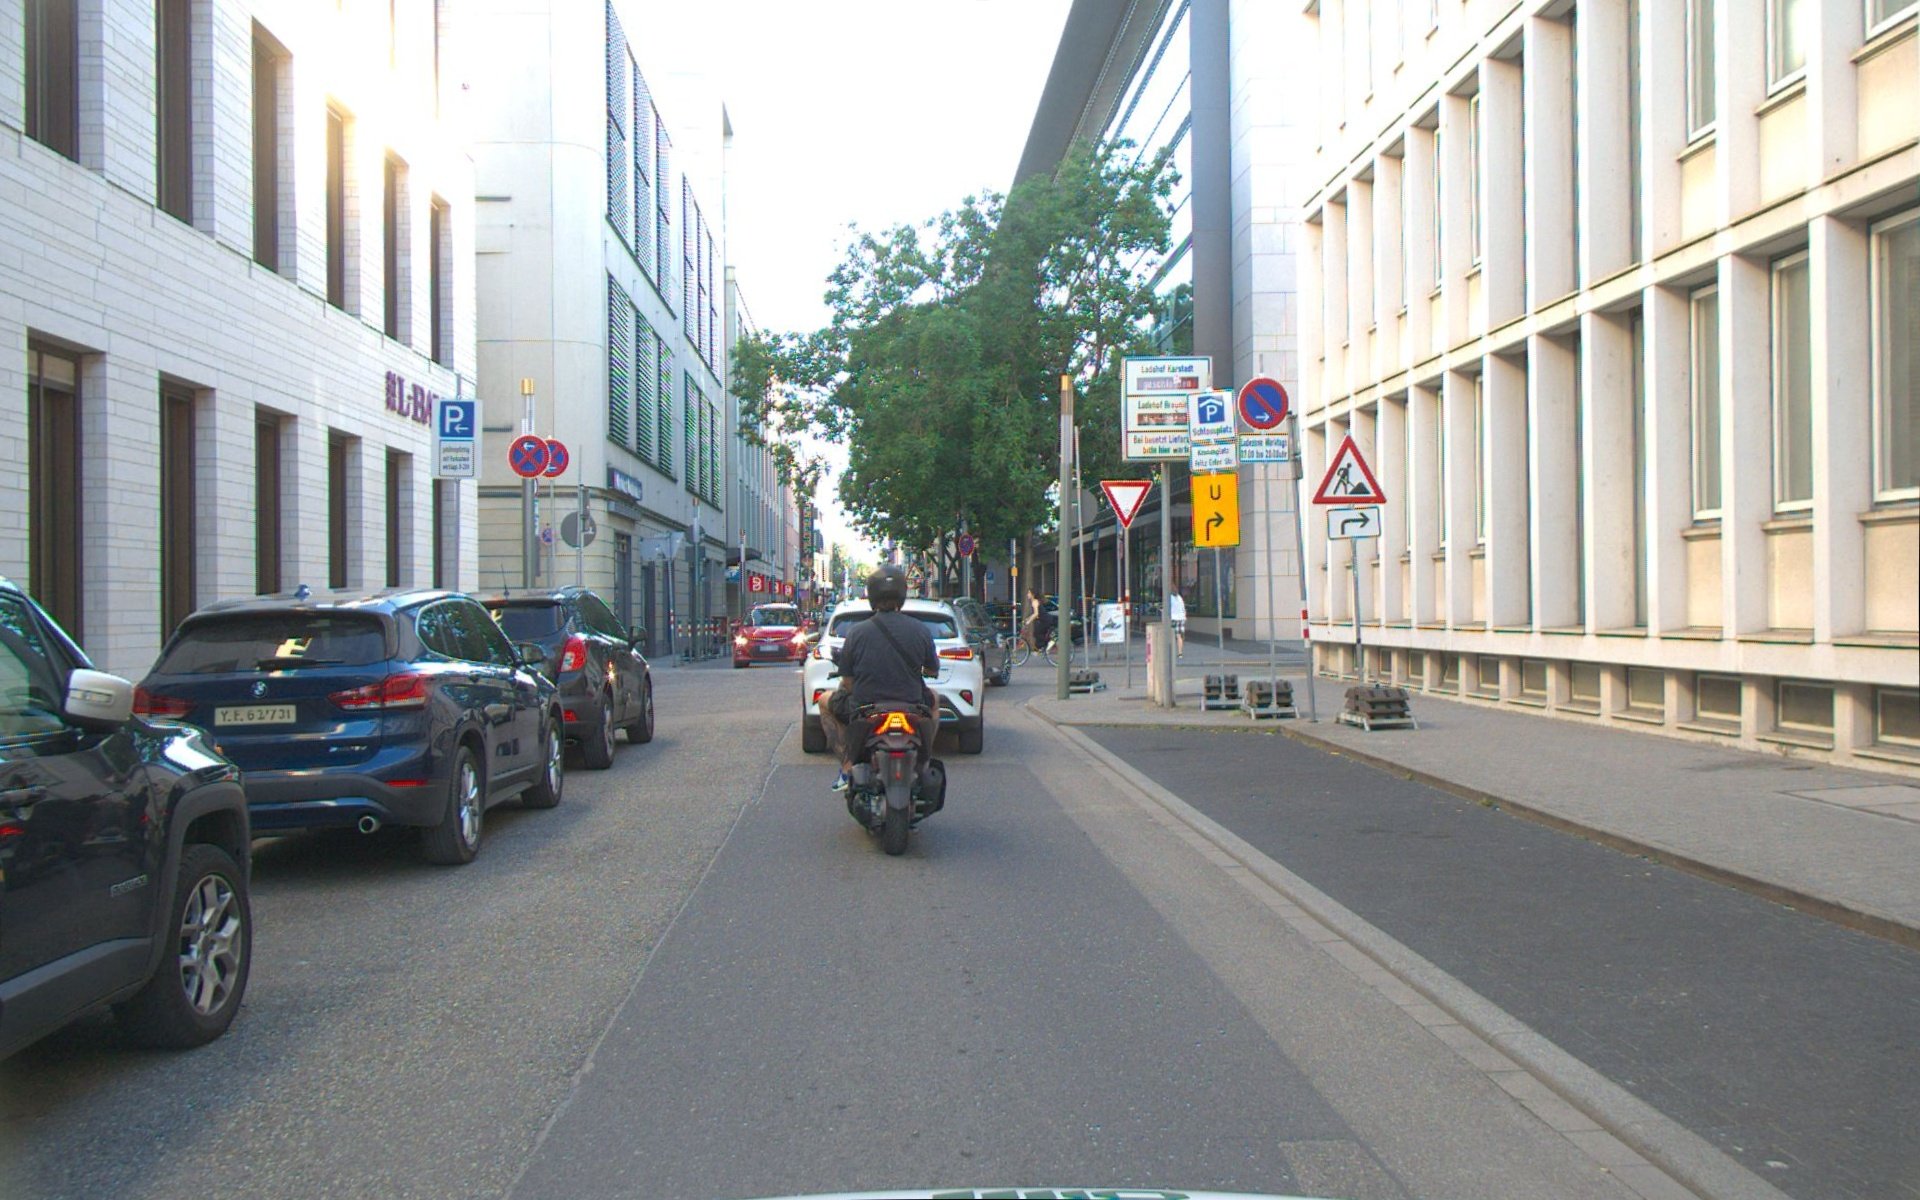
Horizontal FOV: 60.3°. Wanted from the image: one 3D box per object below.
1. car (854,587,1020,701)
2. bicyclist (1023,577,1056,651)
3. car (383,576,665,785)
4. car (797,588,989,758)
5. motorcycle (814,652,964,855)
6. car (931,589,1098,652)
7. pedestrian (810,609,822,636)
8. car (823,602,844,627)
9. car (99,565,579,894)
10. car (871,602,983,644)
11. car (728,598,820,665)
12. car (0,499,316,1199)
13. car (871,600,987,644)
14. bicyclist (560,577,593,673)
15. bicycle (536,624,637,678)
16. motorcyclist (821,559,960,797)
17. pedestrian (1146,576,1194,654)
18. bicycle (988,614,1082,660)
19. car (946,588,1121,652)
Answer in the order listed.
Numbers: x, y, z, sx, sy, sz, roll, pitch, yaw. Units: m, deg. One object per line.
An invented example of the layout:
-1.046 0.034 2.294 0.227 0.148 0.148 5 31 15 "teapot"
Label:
-0.265 0.638 26.415 1.783 1.568 4.369 -2 1 10 "car"
1.770 0.317 36.925 0.617 1.654 0.498 0 -1 22 "bicyclist"
-4.124 0.681 16.359 1.786 1.707 4.261 -3 0 -3 "car"
-0.770 0.669 17.665 1.786 1.568 4.260 -1 0 -4 "car"
-0.436 0.903 10.351 0.855 1.129 1.839 0 -1 -2 "motorcycle"
1.664 0.637 51.685 4.909 1.525 1.998 -5 -1 -6 "car"
-8.458 1.321 97.150 0.717 1.601 0.635 0 -1 -3 "pedestrian"
-12.324 1.374 161.108 1.955 2.370 5.015 1 0 -5 "car"
-3.702 0.660 10.693 1.705 1.622 4.150 -3 0 -4 "car"
-1.545 1.044 75.911 4.909 1.525 1.998 -5 -1 -6 "car"
-4.405 0.796 39.644 1.785 1.491 4.262 -1 -2 -1 "car"
-3.276 0.662 4.300 1.786 1.744 4.014 -3 0 -4 "car"
-1.397 0.983 73.451 4.909 1.525 1.998 -5 -1 -6 "car"
-7.121 0.457 30.687 0.542 1.762 0.499 0 -1 -19 "bicyclist"
-6.940 0.944 30.738 1.786 0.991 0.508 0 -1 -19 "bicycle"
-0.431 0.481 10.364 0.849 1.452 0.455 0 -1 -2 "motorcyclist"
4.876 0.355 38.411 0.887 1.735 0.834 -3 -1 -2 "pedestrian"
1.675 0.815 36.952 2.059 1.012 0.518 0 -1 22 "bicycle"
2.138 0.587 49.270 4.909 1.477 1.998 -5 -1 -6 "car"
